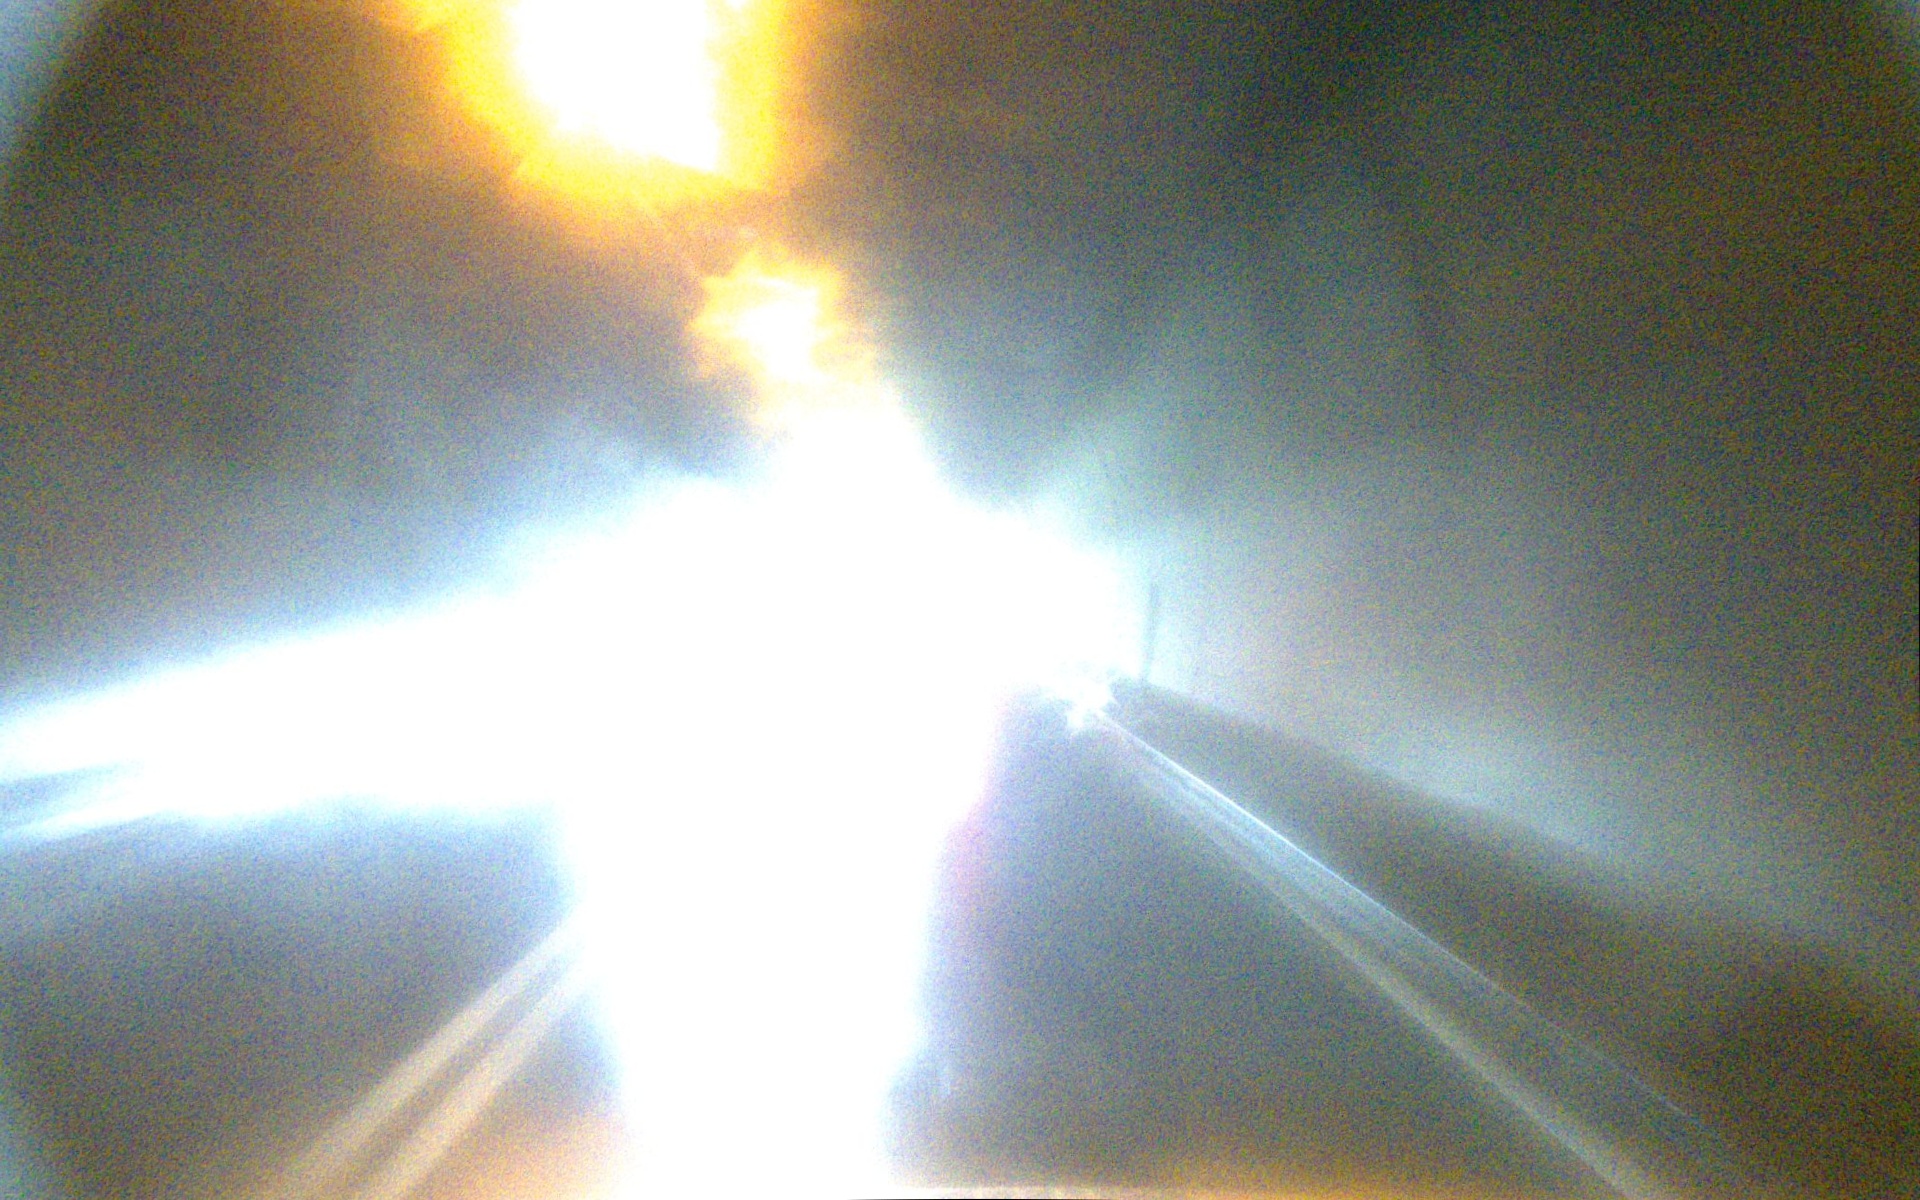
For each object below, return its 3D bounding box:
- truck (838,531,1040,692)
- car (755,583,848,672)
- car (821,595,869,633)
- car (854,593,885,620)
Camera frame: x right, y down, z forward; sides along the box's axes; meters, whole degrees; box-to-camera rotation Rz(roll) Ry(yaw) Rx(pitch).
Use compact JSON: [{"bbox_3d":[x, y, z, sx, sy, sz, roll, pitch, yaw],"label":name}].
[{"bbox_3d":[-0.423,0.181,33.251,3.463,2.740,8.954,-1,0,-1],"label":"truck"},{"bbox_3d":[-3.146,0.517,33.345,1.537,1.660,3.729,1,0,-1],"label":"car"},{"bbox_3d":[-4.566,0.523,65.885,1.700,1.466,3.835,0,0,-1],"label":"car"},{"bbox_3d":[-5.221,0.358,95.775,1.724,1.506,3.885,1,0,-2],"label":"car"}]
